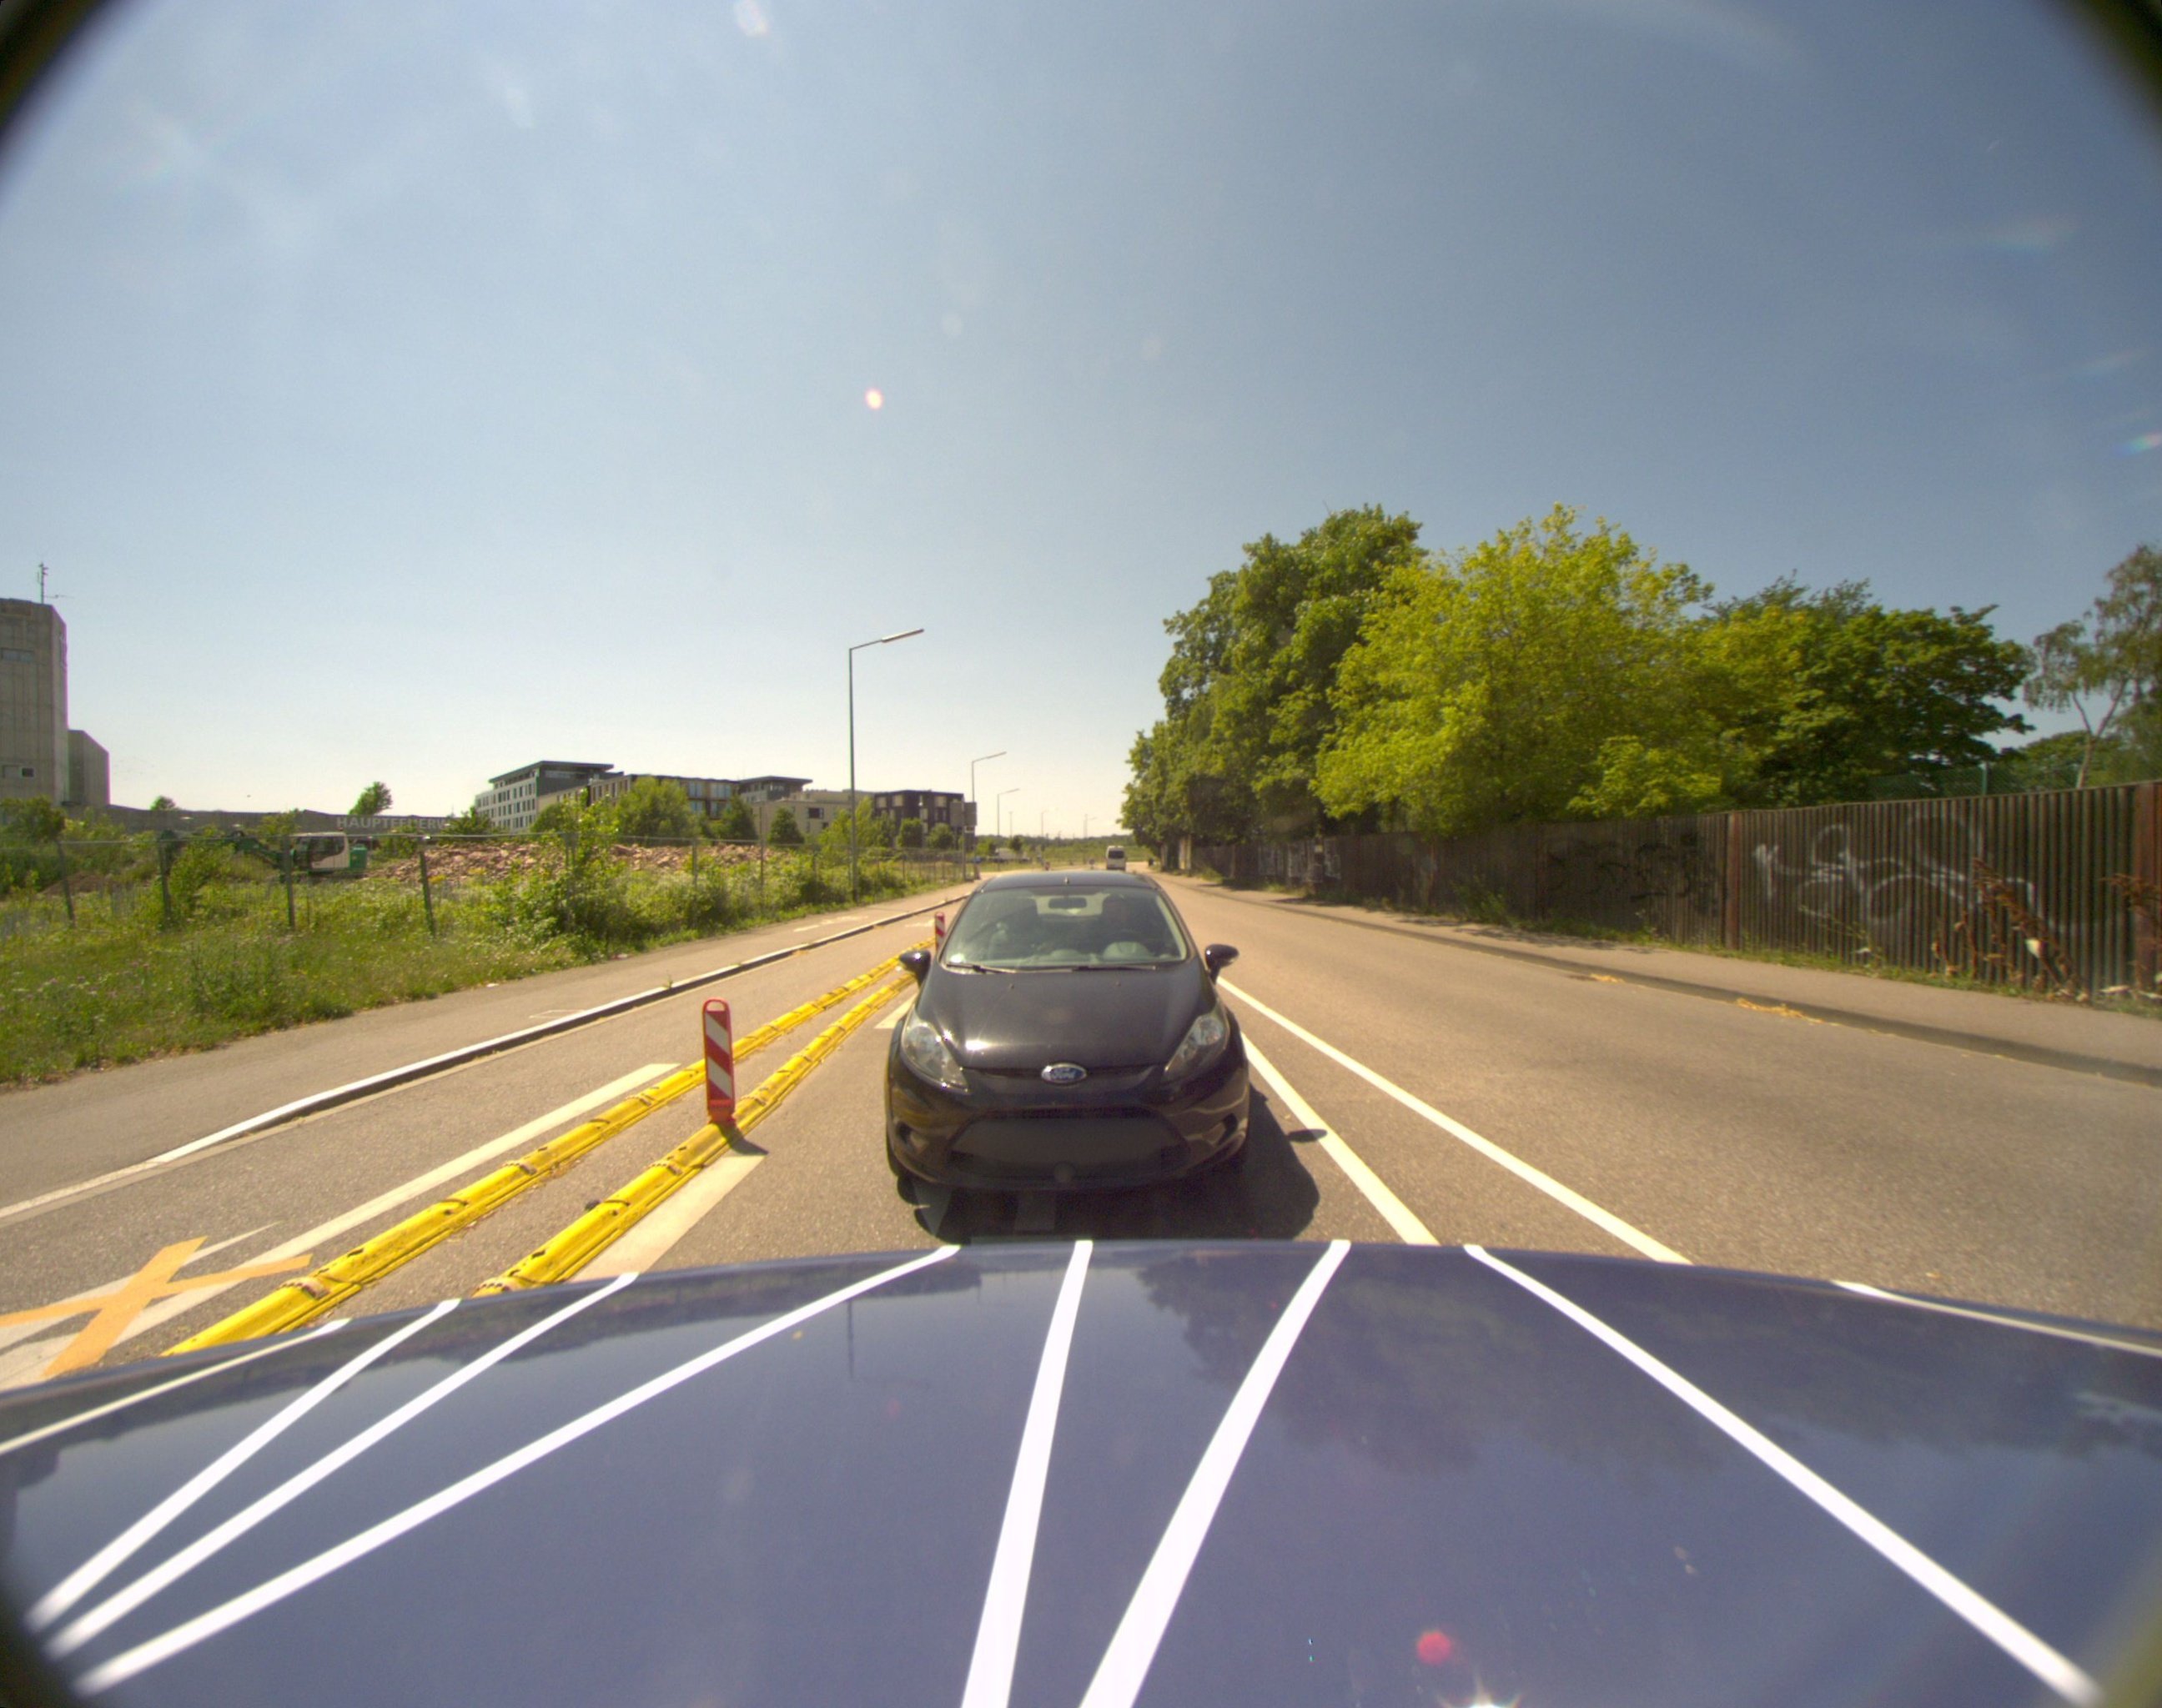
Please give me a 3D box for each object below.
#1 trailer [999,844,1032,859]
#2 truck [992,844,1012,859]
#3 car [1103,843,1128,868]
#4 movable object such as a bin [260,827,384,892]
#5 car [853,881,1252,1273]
[{"bbox_3d":[-15.078,-0.639,174.446,8.194,3.329,1.994,-1,0,-45],"label":"trailer"},{"bbox_3d":[-17.835,-0.637,171.707,4.008,3.316,1.994,-1,1,-45],"label":"truck"},{"bbox_3d":[3.490,0.132,77.999,2.025,2.524,6.825,0,0,-2],"label":"car"},{"bbox_3d":[-37.615,0.245,37.791,2.204,3.045,3.690,-2,1,6],"label":"movable object such as a bin"},{"bbox_3d":[-0.094,0.994,5.130,1.602,1.422,4.000,-2,0,1],"label":"car"}]
